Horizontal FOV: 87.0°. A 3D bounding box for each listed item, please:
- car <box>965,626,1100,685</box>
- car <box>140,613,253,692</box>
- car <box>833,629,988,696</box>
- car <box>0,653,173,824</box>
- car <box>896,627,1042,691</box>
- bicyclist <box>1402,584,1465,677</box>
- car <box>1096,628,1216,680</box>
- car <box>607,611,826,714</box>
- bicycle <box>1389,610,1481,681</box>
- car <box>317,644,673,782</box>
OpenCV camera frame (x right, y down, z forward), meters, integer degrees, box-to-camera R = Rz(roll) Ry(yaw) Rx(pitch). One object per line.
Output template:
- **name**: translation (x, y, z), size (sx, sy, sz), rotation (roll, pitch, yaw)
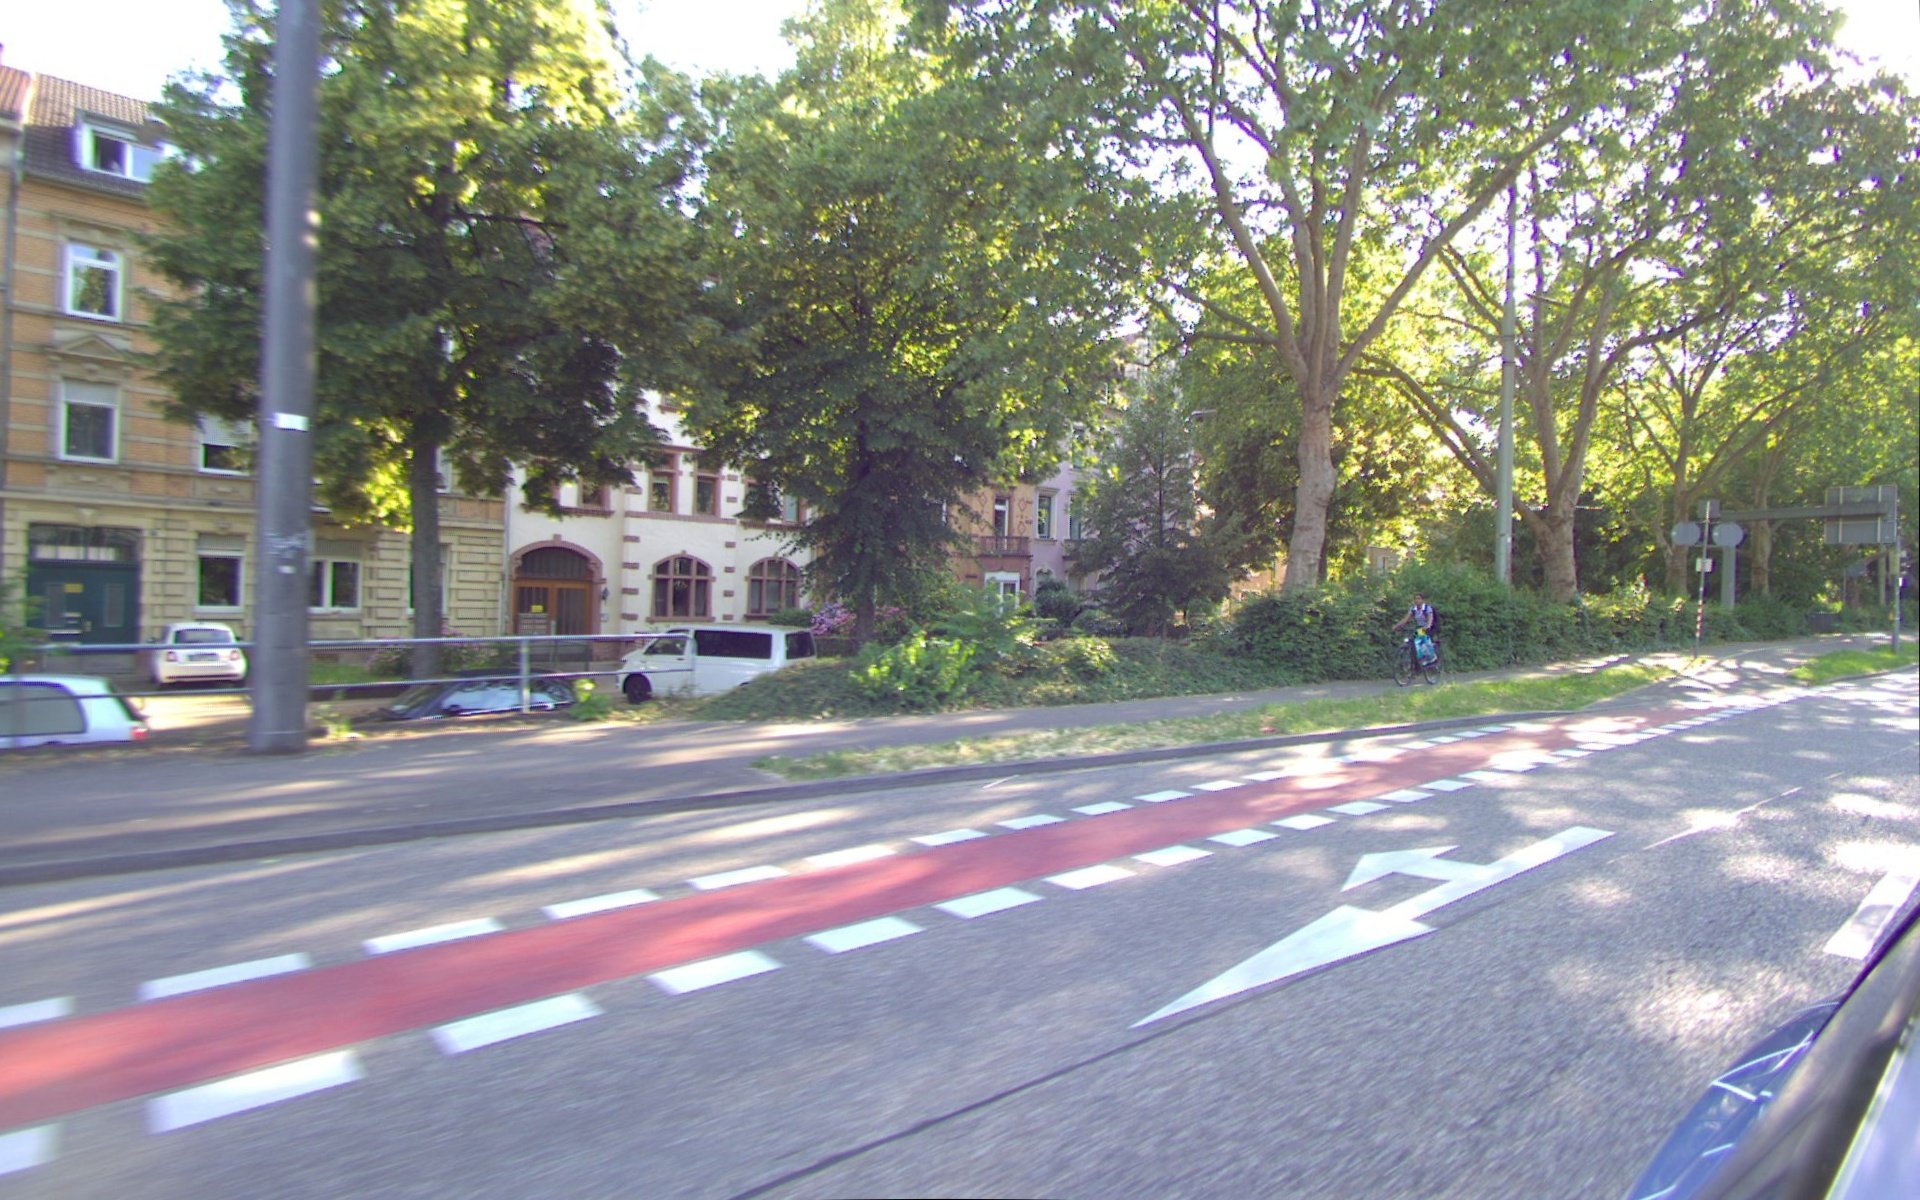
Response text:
- **car**: translation (2.317, 1.722, 32.091), size (3.947, 1.529, 1.790), rotation (2, 1, 18)
- **car**: translation (-17.879, 1.149, 23.647), size (1.770, 1.541, 3.570), rotation (0, 2, -43)
- **car**: translation (-1.324, 1.656, 27.469), size (3.871, 1.470, 1.680), rotation (2, 1, 16)
- **car**: translation (-9.863, 1.355, 9.732), size (3.516, 1.459, 1.796), rotation (-1, 0, -42)
- **car**: translation (0.287, 1.697, 29.887), size (3.947, 1.529, 1.790), rotation (2, 1, 18)
- **bicyclist**: translation (8.081, 0.507, 17.285), size (0.639, 1.532, 0.767), rotation (1, 0, -41)
- **car**: translation (6.885, 1.856, 35.506), size (3.947, 1.529, 1.790), rotation (2, 1, 18)
- **car**: translation (-5.642, 1.377, 23.503), size (4.620, 1.990, 1.862), rotation (2, 1, 18)
- **bicycle**: translation (8.167, 0.752, 17.376), size (1.768, 1.121, 0.767), rotation (0, 0, -41)
- **car**: translation (-6.034, 1.357, 13.372), size (3.932, 1.325, 1.796), rotation (-1, 0, -42)
